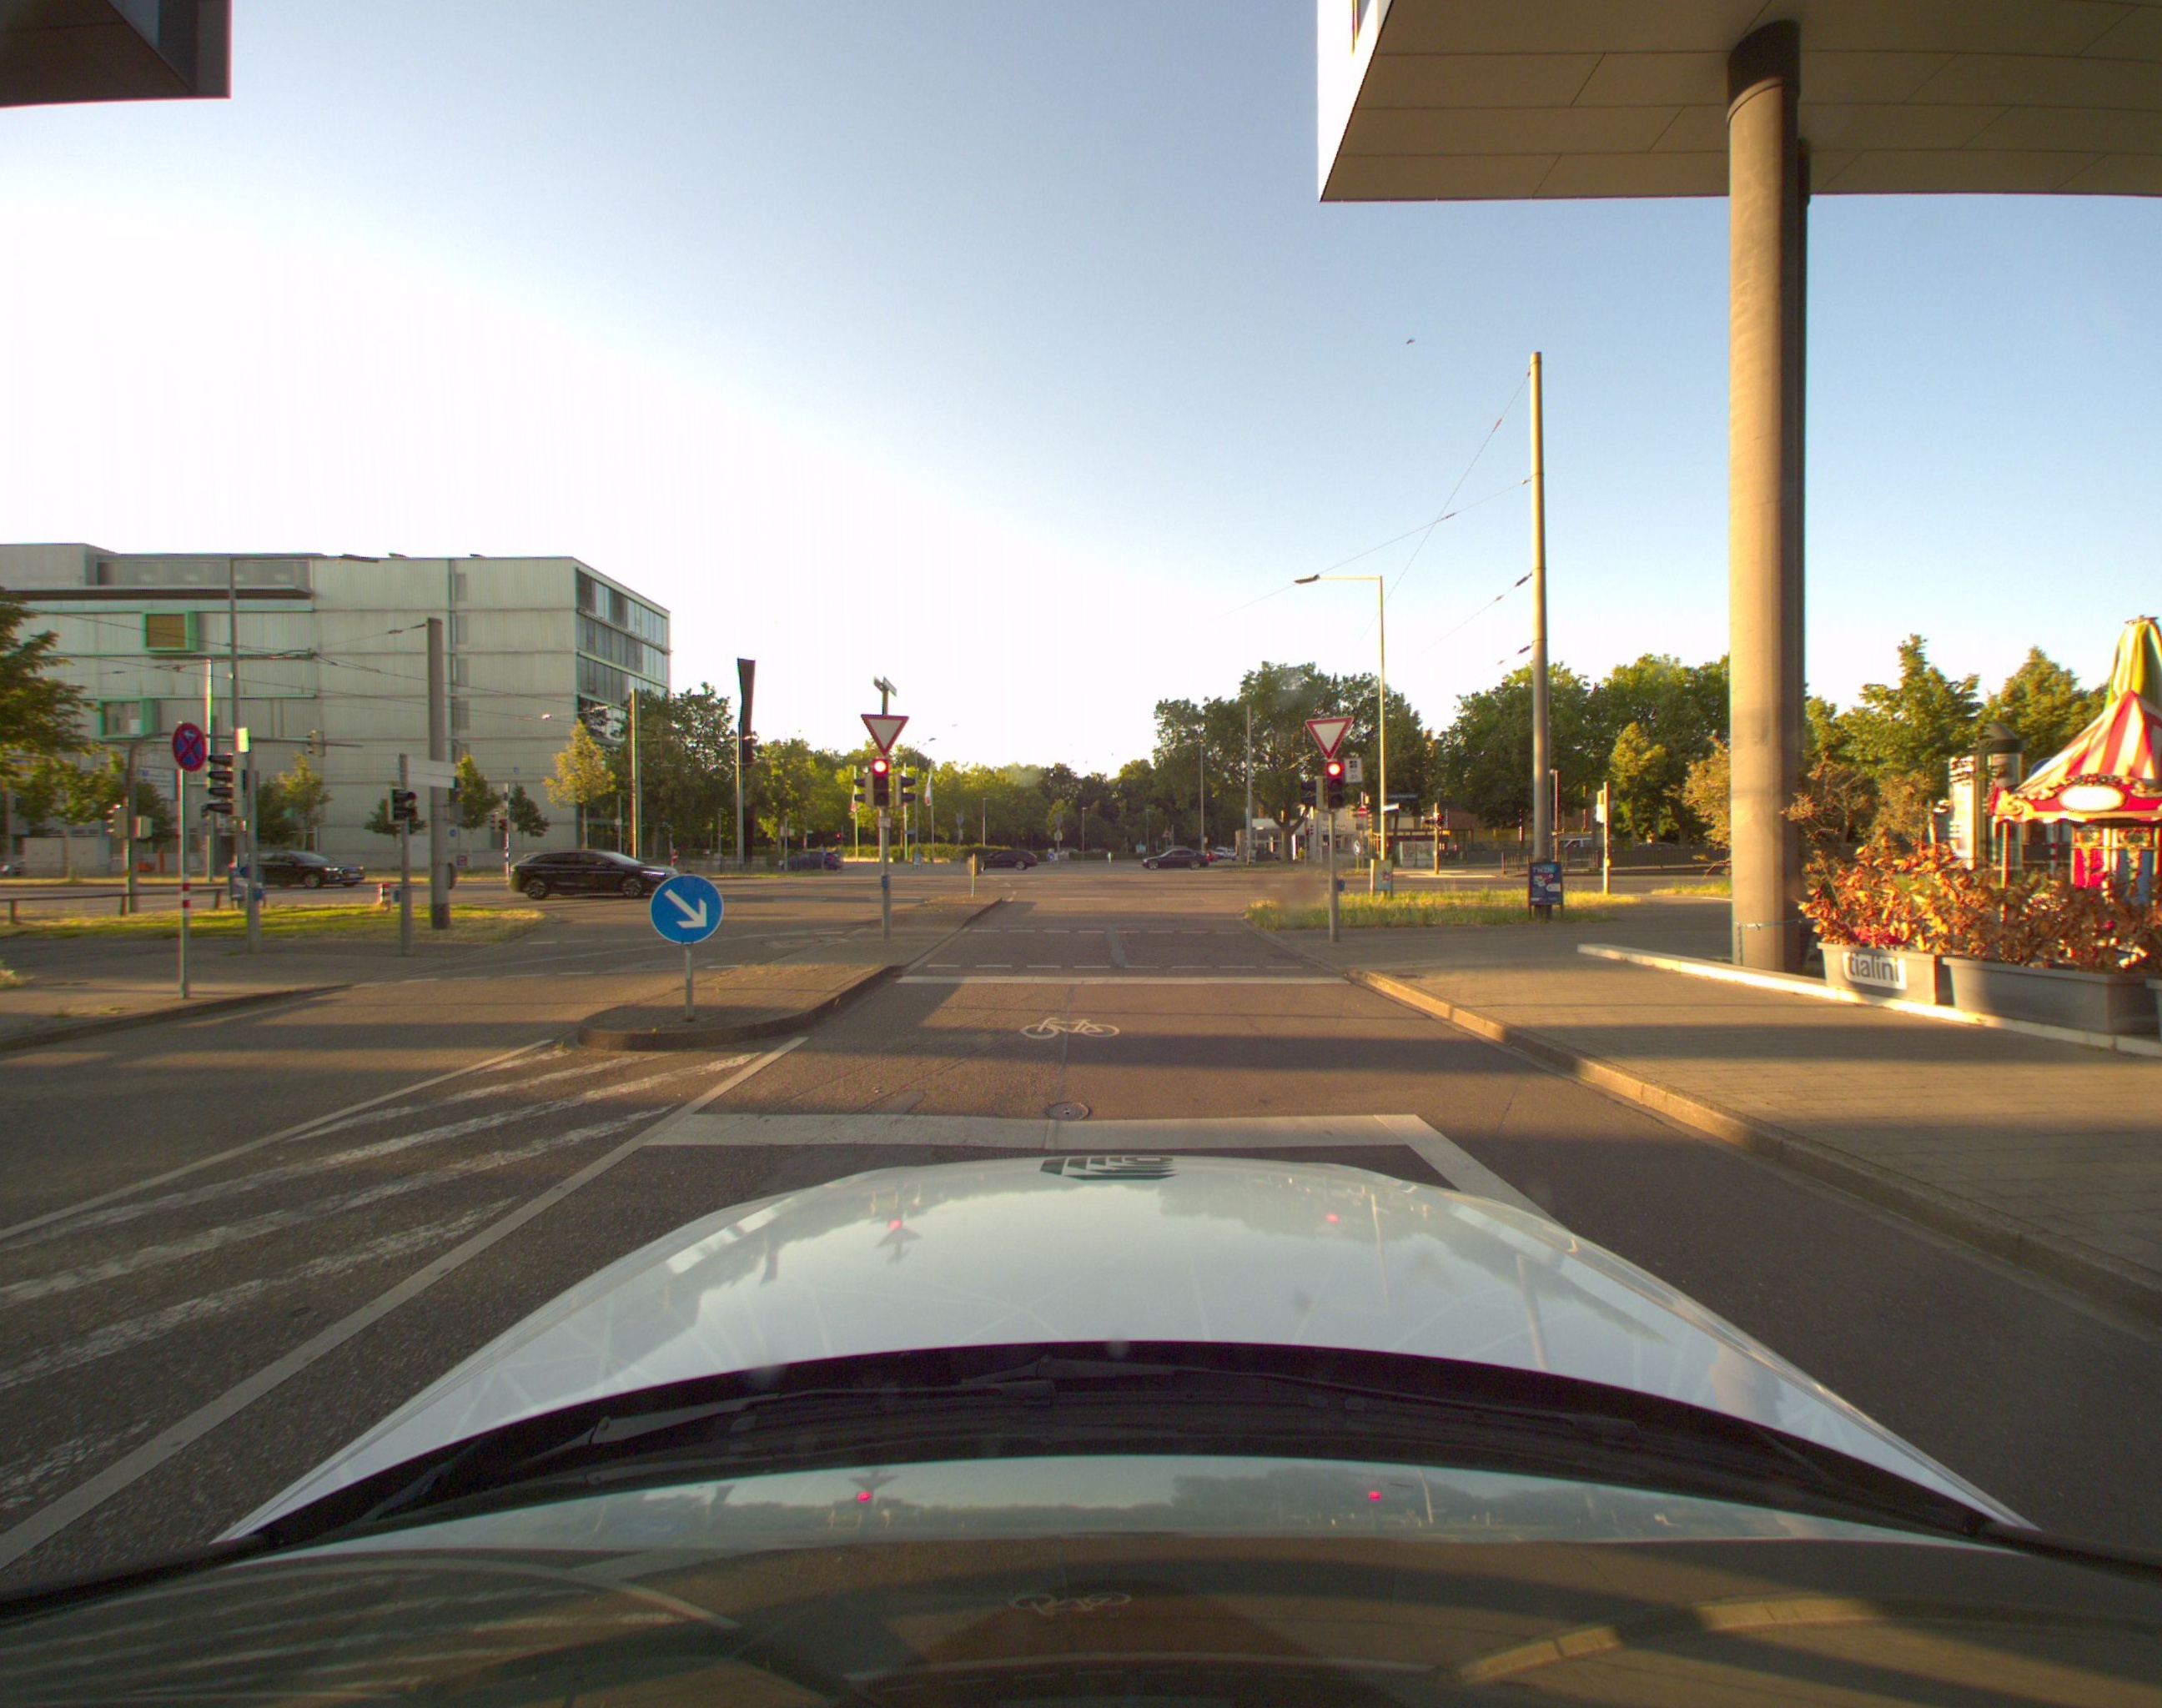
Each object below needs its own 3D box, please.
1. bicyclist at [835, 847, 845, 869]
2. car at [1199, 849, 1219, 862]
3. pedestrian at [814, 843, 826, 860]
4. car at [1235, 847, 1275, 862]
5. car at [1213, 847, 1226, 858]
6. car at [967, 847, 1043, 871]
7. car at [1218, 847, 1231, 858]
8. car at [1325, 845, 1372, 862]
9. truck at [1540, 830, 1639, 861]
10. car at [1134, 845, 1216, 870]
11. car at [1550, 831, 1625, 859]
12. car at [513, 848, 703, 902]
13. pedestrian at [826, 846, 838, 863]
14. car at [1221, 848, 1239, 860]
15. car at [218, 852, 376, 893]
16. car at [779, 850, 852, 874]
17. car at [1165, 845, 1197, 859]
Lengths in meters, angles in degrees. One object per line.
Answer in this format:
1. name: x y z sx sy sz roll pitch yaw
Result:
1. bicyclist: -18.947 0.285 64.021 0.753 1.709 0.914 -1 0 -20
2. car: 16.209 0.221 103.179 1.978 1.662 4.018 -1 -1 17
3. pedestrian: -26.306 -0.227 82.038 0.852 1.744 0.835 -1 0 30
4. car: 18.925 0.018 88.901 4.194 1.552 2.005 -1 -1 9
5. car: 22.270 -0.243 130.880 1.850 1.794 4.013 -1 -1 12
6. car: -5.279 0.346 57.277 5.082 1.552 2.000 -1 -1 1
7. car: 23.934 -0.249 135.738 1.849 1.794 4.015 -1 -1 14
8. car: 23.554 -0.036 71.756 3.715 1.440 1.669 -1 -1 11
9. truck: 34.976 -0.591 56.104 5.535 2.054 2.069 -1 0 2
10. car: 6.143 0.223 53.743 5.206 1.552 2.000 -1 -1 1
11. car: 47.875 -0.831 77.073 5.561 2.551 2.235 -1 0 9
12. car: -15.130 0.641 26.278 4.895 1.614 1.998 -1 0 -2
13. pedestrian: -25.527 0.051 83.533 0.852 1.744 0.835 -1 0 31
14. car: 21.089 0.005 115.300 1.978 1.662 4.018 -1 -1 17
15. car: -32.504 0.741 33.894 4.467 1.557 1.986 -1 0 -4
16. car: -18.650 0.564 57.328 4.454 1.552 2.001 -1 -1 3
17. car: 15.416 -0.325 125.729 4.753 2.006 2.002 -1 -1 3
